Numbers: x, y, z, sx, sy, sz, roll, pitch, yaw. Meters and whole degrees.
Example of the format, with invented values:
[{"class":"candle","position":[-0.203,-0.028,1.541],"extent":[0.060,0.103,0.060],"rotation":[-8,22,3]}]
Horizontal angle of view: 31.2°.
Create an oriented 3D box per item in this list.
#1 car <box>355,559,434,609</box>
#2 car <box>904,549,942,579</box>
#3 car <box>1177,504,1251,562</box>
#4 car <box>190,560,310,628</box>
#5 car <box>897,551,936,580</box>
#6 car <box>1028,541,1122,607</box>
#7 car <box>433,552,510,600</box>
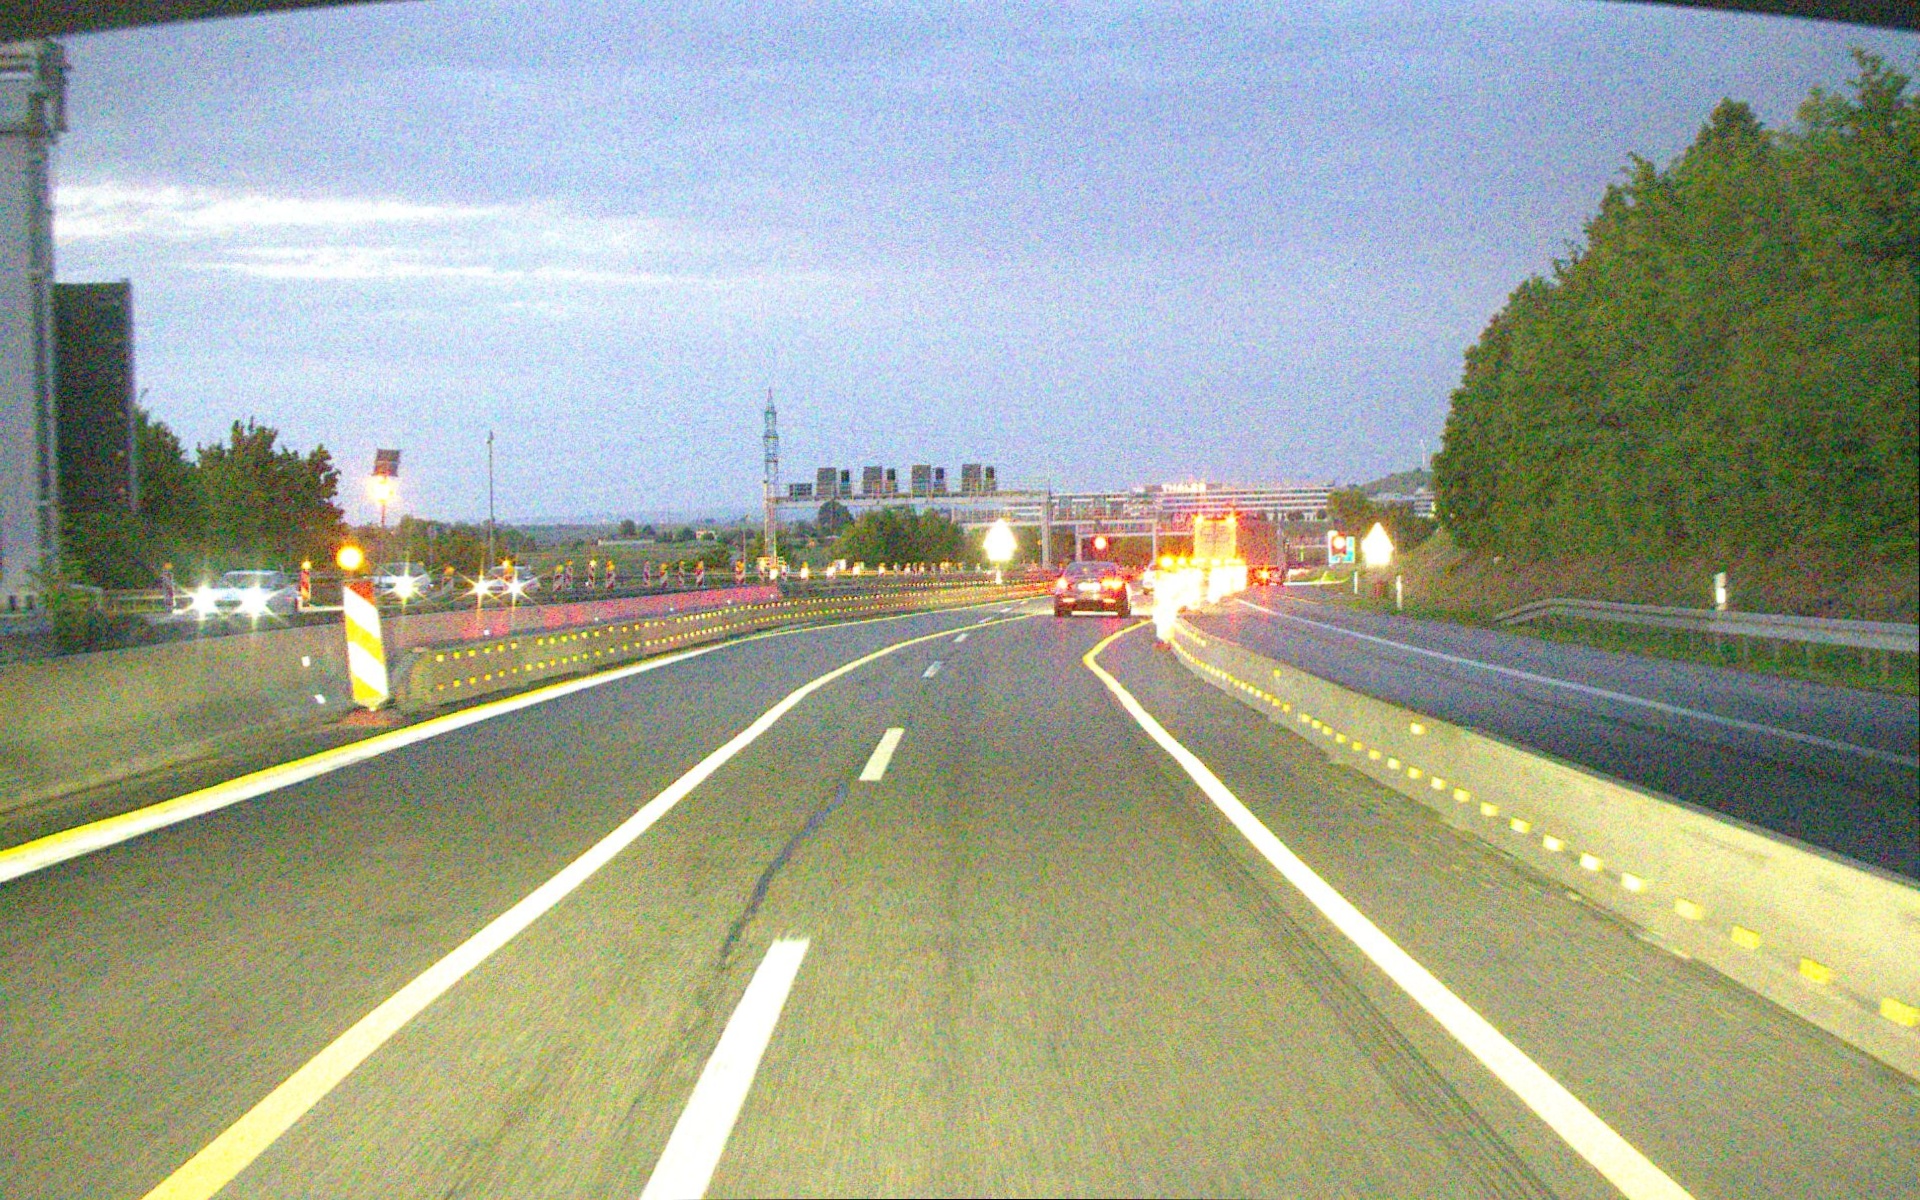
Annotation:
[{"class":"car","position":[-20.334,-0.590,123.745],"extent":[1.907,1.709,3.943],"rotation":[1,1,4]},{"class":"car","position":[-2.336,-2.249,216.506],"extent":[1.994,1.821,3.999],"rotation":[1,1,5]},{"class":"car","position":[15.414,-4.025,209.497],"extent":[3.605,3.384,8.015],"rotation":[1,1,-2]},{"class":"car","position":[-18.254,-0.172,88.629],"extent":[1.831,1.655,4.841],"rotation":[1,1,3]},{"class":"car","position":[-2.639,-2.084,209.292],"extent":[1.994,1.708,3.999],"rotation":[1,1,5]},{"class":"car","position":[2.933,-0.670,88.352],"extent":[2.265,1.616,4.000],"rotation":[1,1,0]},{"class":"car","position":[-17.677,-0.883,124.639],"extent":[1.831,1.655,4.841],"rotation":[1,1,3]}]
